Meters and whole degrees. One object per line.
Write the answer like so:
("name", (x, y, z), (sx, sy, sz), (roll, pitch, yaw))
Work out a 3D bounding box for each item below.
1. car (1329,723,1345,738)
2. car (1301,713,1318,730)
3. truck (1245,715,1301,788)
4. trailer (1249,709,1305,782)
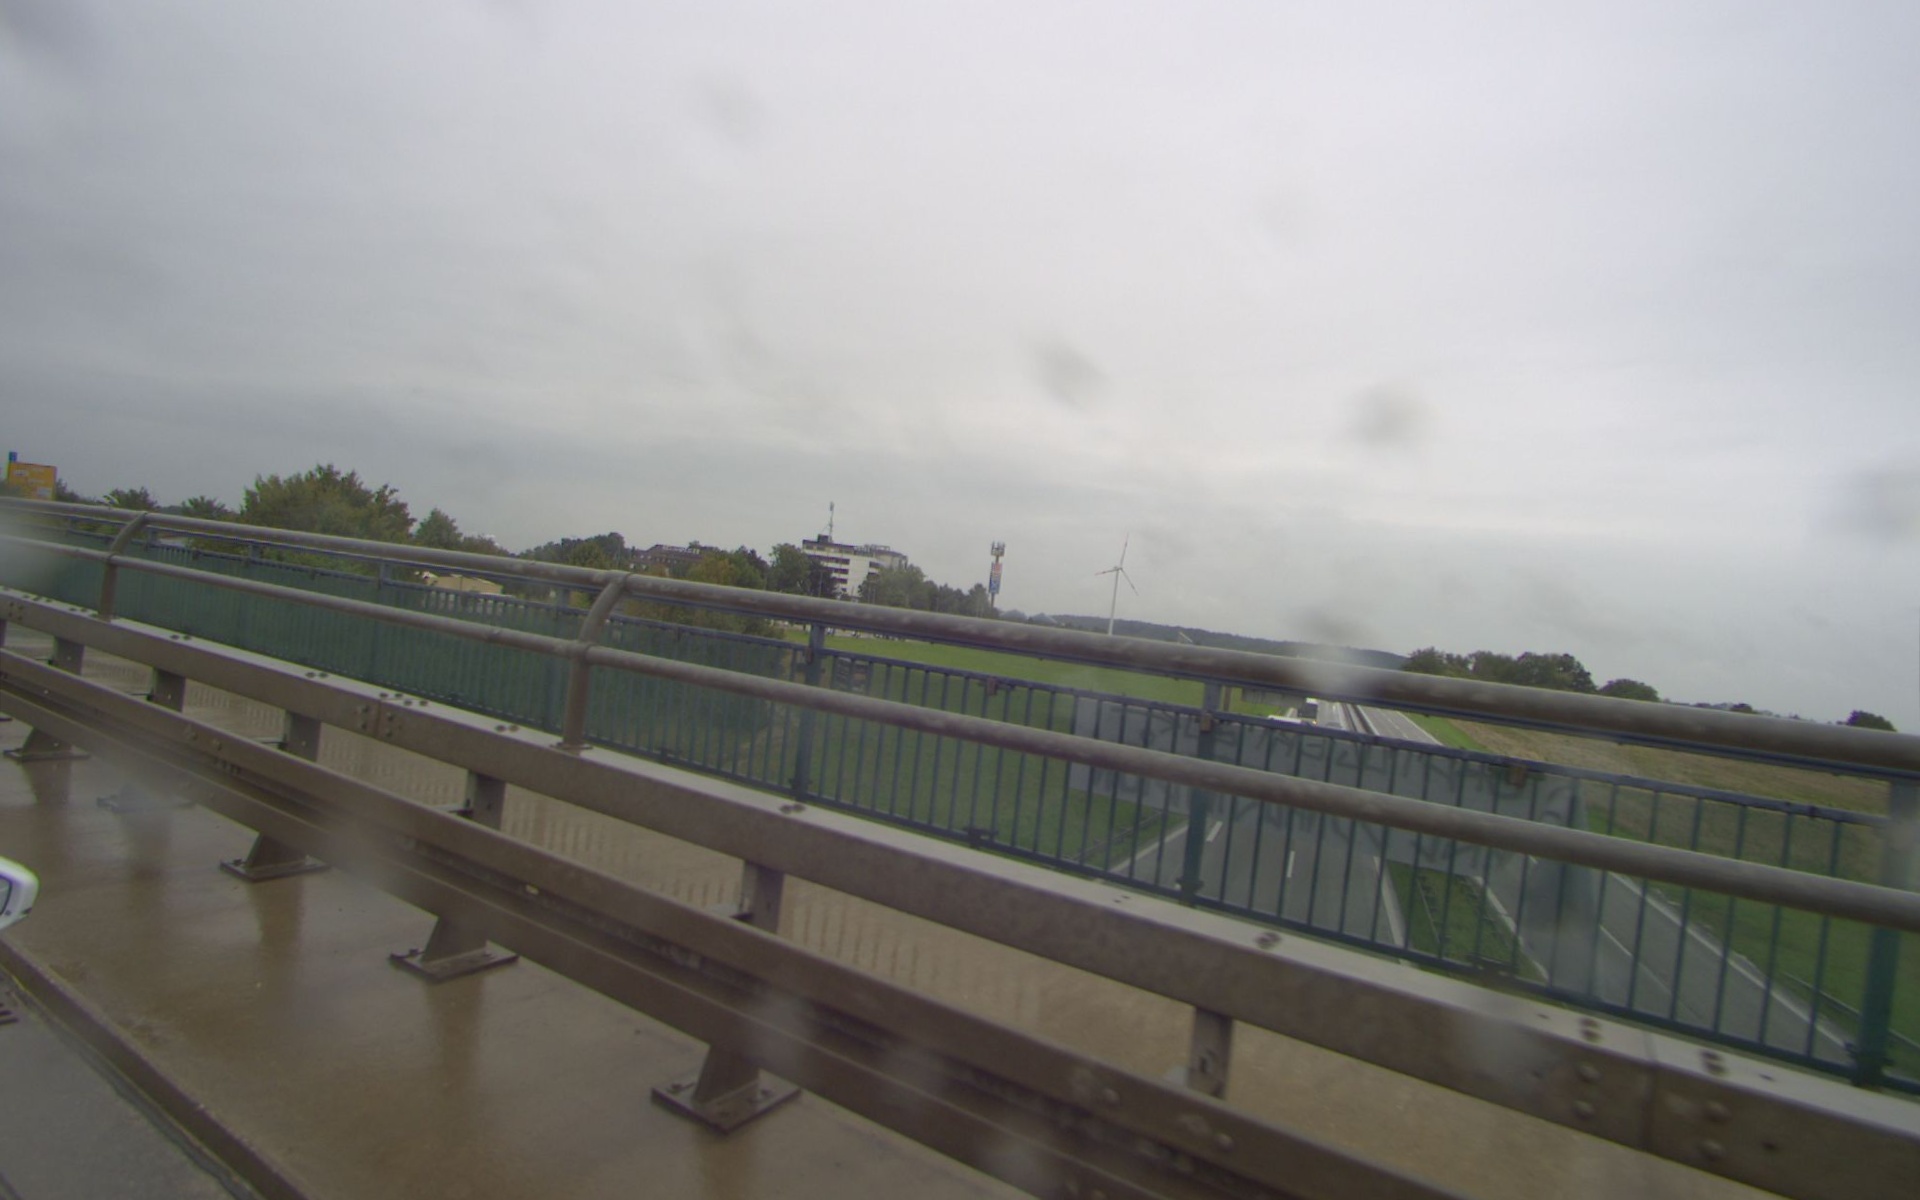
("car", (46.697, 16.125, 124.651), (1.646, 1.367, 4.001), (8, -1, 21))
("car", (46.880, 16.312, 135.040), (1.963, 1.783, 4.005), (8, -3, 19))
("truck", (21.862, 10.423, 70.056), (2.829, 4.016, 6.821), (8, 0, 21))
("trailer", (24.390, 10.855, 76.858), (2.829, 4.015, 14.025), (8, 0, 21))
